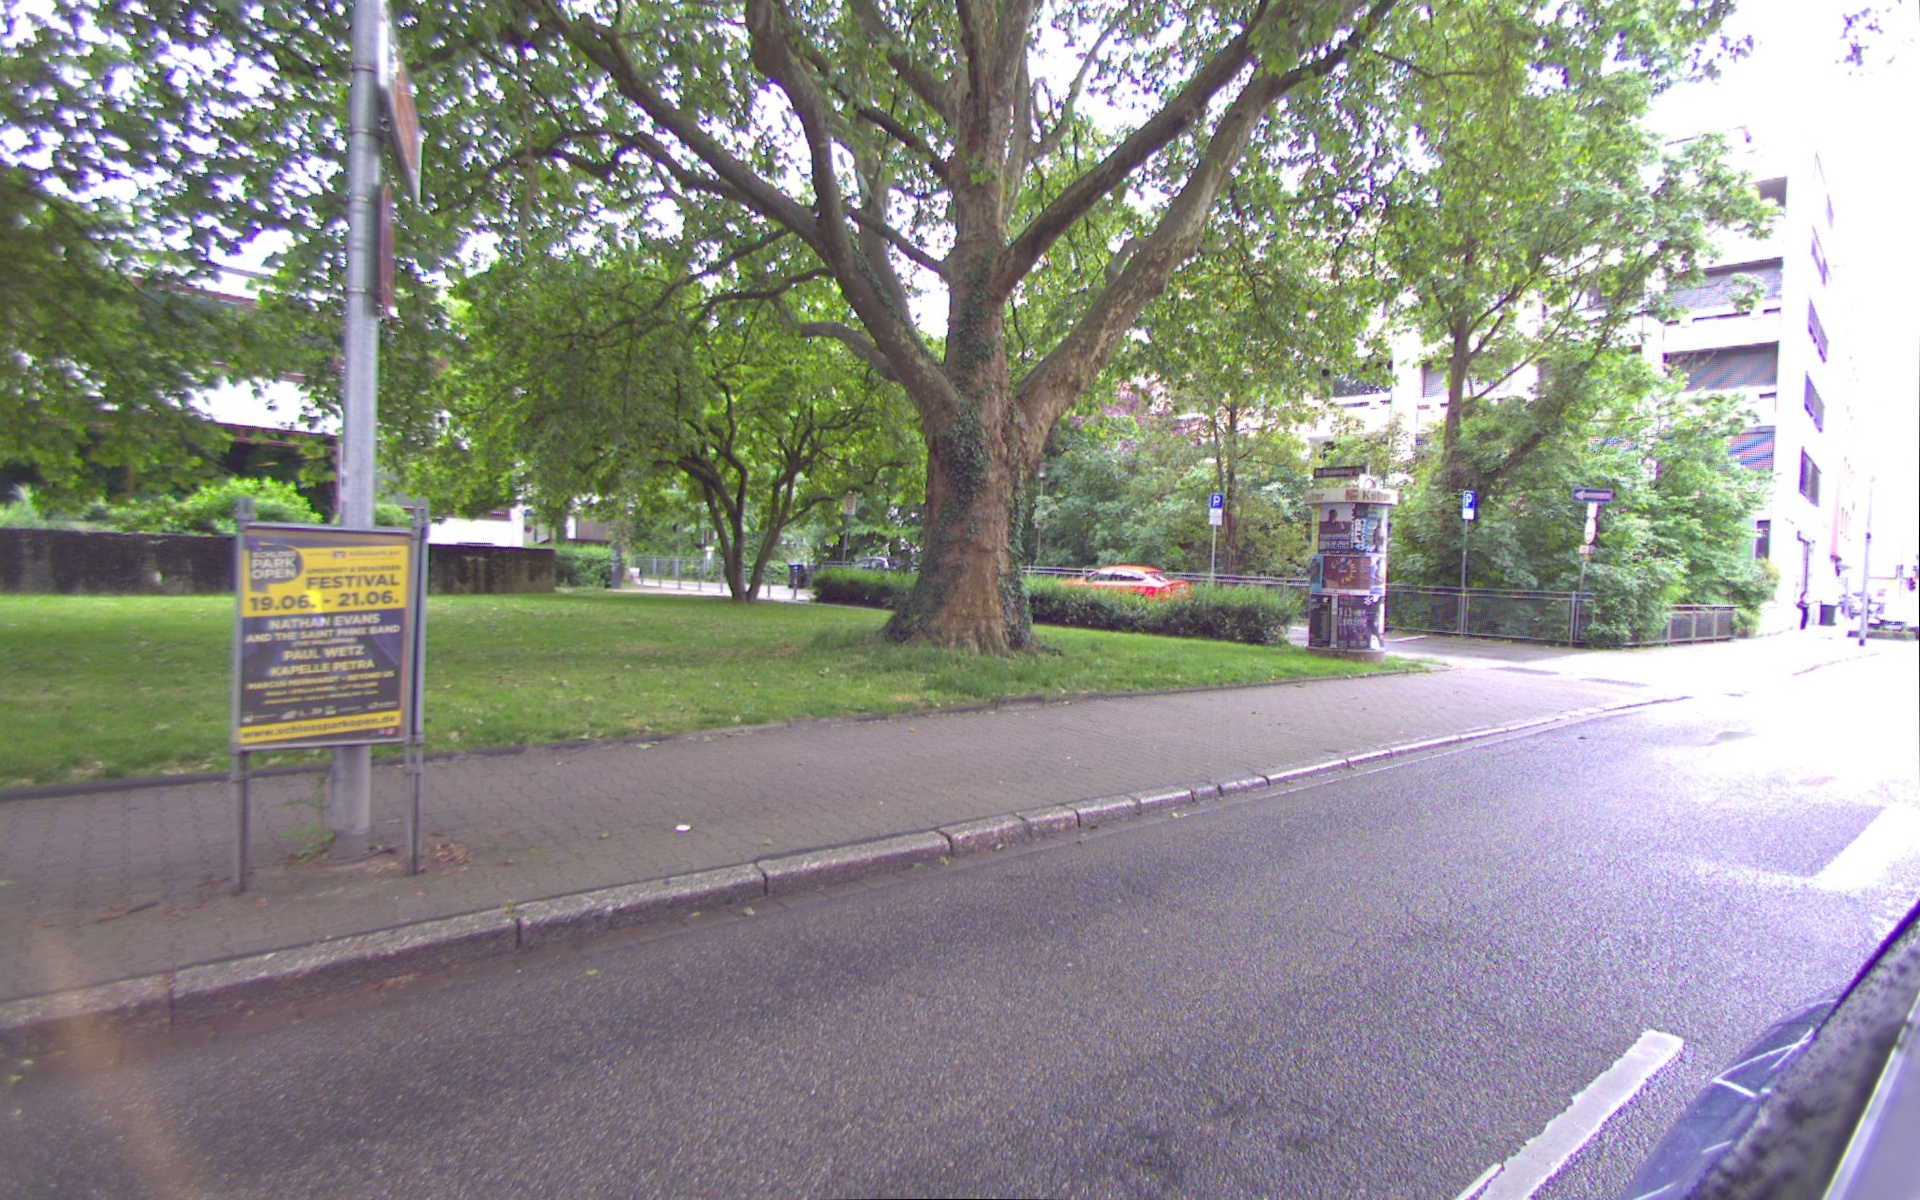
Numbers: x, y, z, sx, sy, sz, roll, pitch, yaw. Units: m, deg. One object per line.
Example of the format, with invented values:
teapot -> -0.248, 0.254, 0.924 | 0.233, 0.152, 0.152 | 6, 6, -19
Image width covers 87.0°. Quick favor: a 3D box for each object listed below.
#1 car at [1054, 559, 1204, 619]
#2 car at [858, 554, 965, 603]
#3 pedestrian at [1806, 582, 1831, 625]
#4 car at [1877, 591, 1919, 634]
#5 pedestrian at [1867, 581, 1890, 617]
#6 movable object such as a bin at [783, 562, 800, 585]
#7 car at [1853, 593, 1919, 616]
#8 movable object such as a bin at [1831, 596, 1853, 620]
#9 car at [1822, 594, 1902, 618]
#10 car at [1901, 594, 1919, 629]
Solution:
car -> 4.905, -0.376, 29.737 | 3.989, 1.499, 1.847 | 5, 5, 44
car -> -1.825, -0.811, 37.084 | 1.707, 1.590, 3.925 | 0, 3, -45
pedestrian -> 34.794, 0.143, 41.020 | 0.598, 1.679, 0.681 | 7, 4, 42
car -> 37.551, 0.488, 39.878 | 3.741, 1.577, 1.705 | 0, 4, -43
pedestrian -> 56.492, -0.047, 62.251 | 0.797, 2.179, 0.732 | 2, 1, 26
movable object such as a bin -> -7.185, -1.117, 43.154 | 0.573, 0.986, 0.512 | 0, 0, -41
car -> 66.409, 0.333, 71.655 | 1.725, 1.588, 4.563 | 0, 0, -37
movable object such as a bin -> 42.091, 0.381, 48.296 | 0.505, 1.117, 0.680 | 0, 2, -42
car -> 63.095, 0.396, 70.825 | 1.569, 1.588, 3.967 | 0, 0, -39
car -> 42.564, 0.537, 44.132 | 4.493, 1.437, 1.834 | 0, 3, -43
